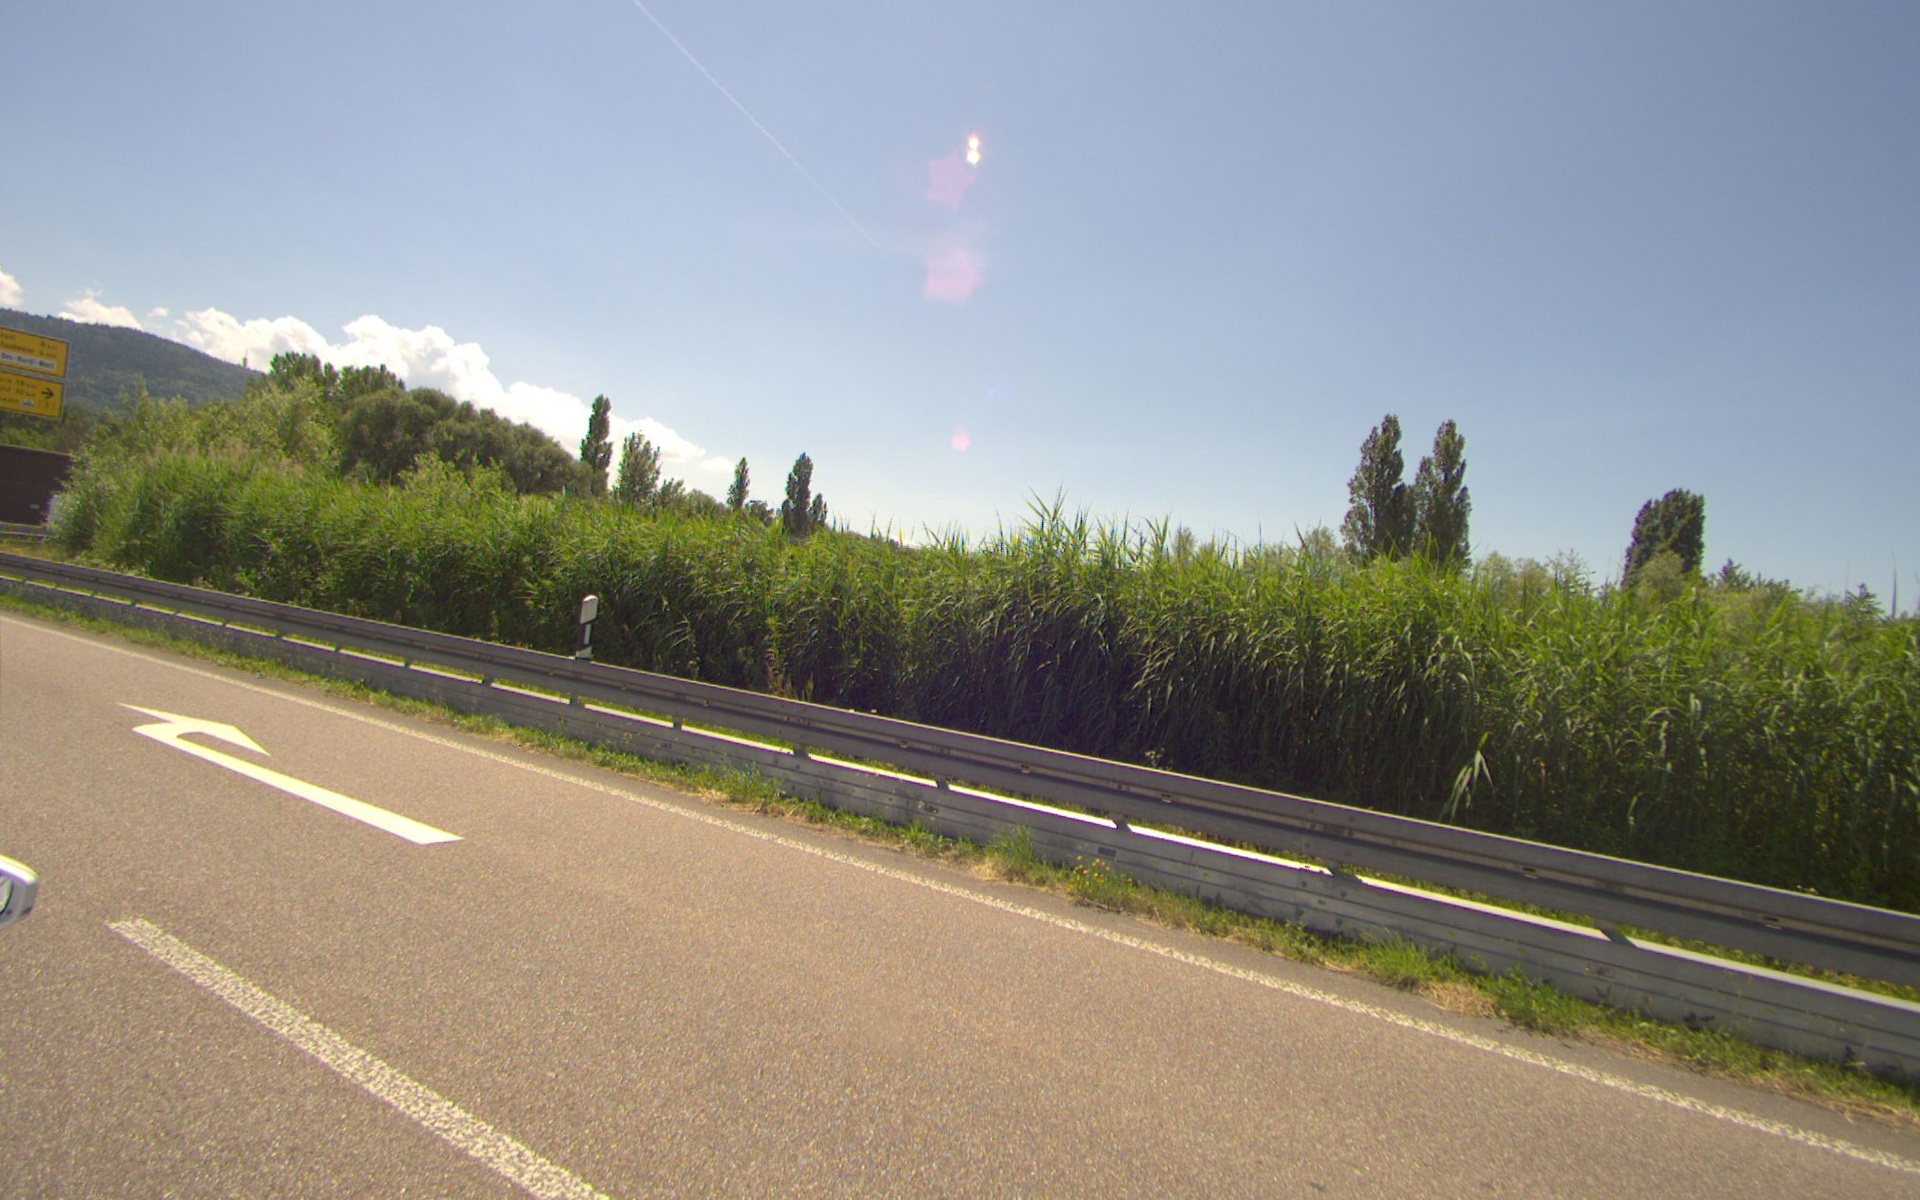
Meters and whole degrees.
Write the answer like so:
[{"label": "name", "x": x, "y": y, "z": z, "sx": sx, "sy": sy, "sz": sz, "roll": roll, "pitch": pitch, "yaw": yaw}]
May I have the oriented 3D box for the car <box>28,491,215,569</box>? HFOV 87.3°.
[{"label": "car", "x": -29.805, "y": -2.419, "z": 36.014, "sx": 1.898, "sy": 2.023, "sz": 4.843, "roll": 7, "pitch": -2, "yaw": 12}]
